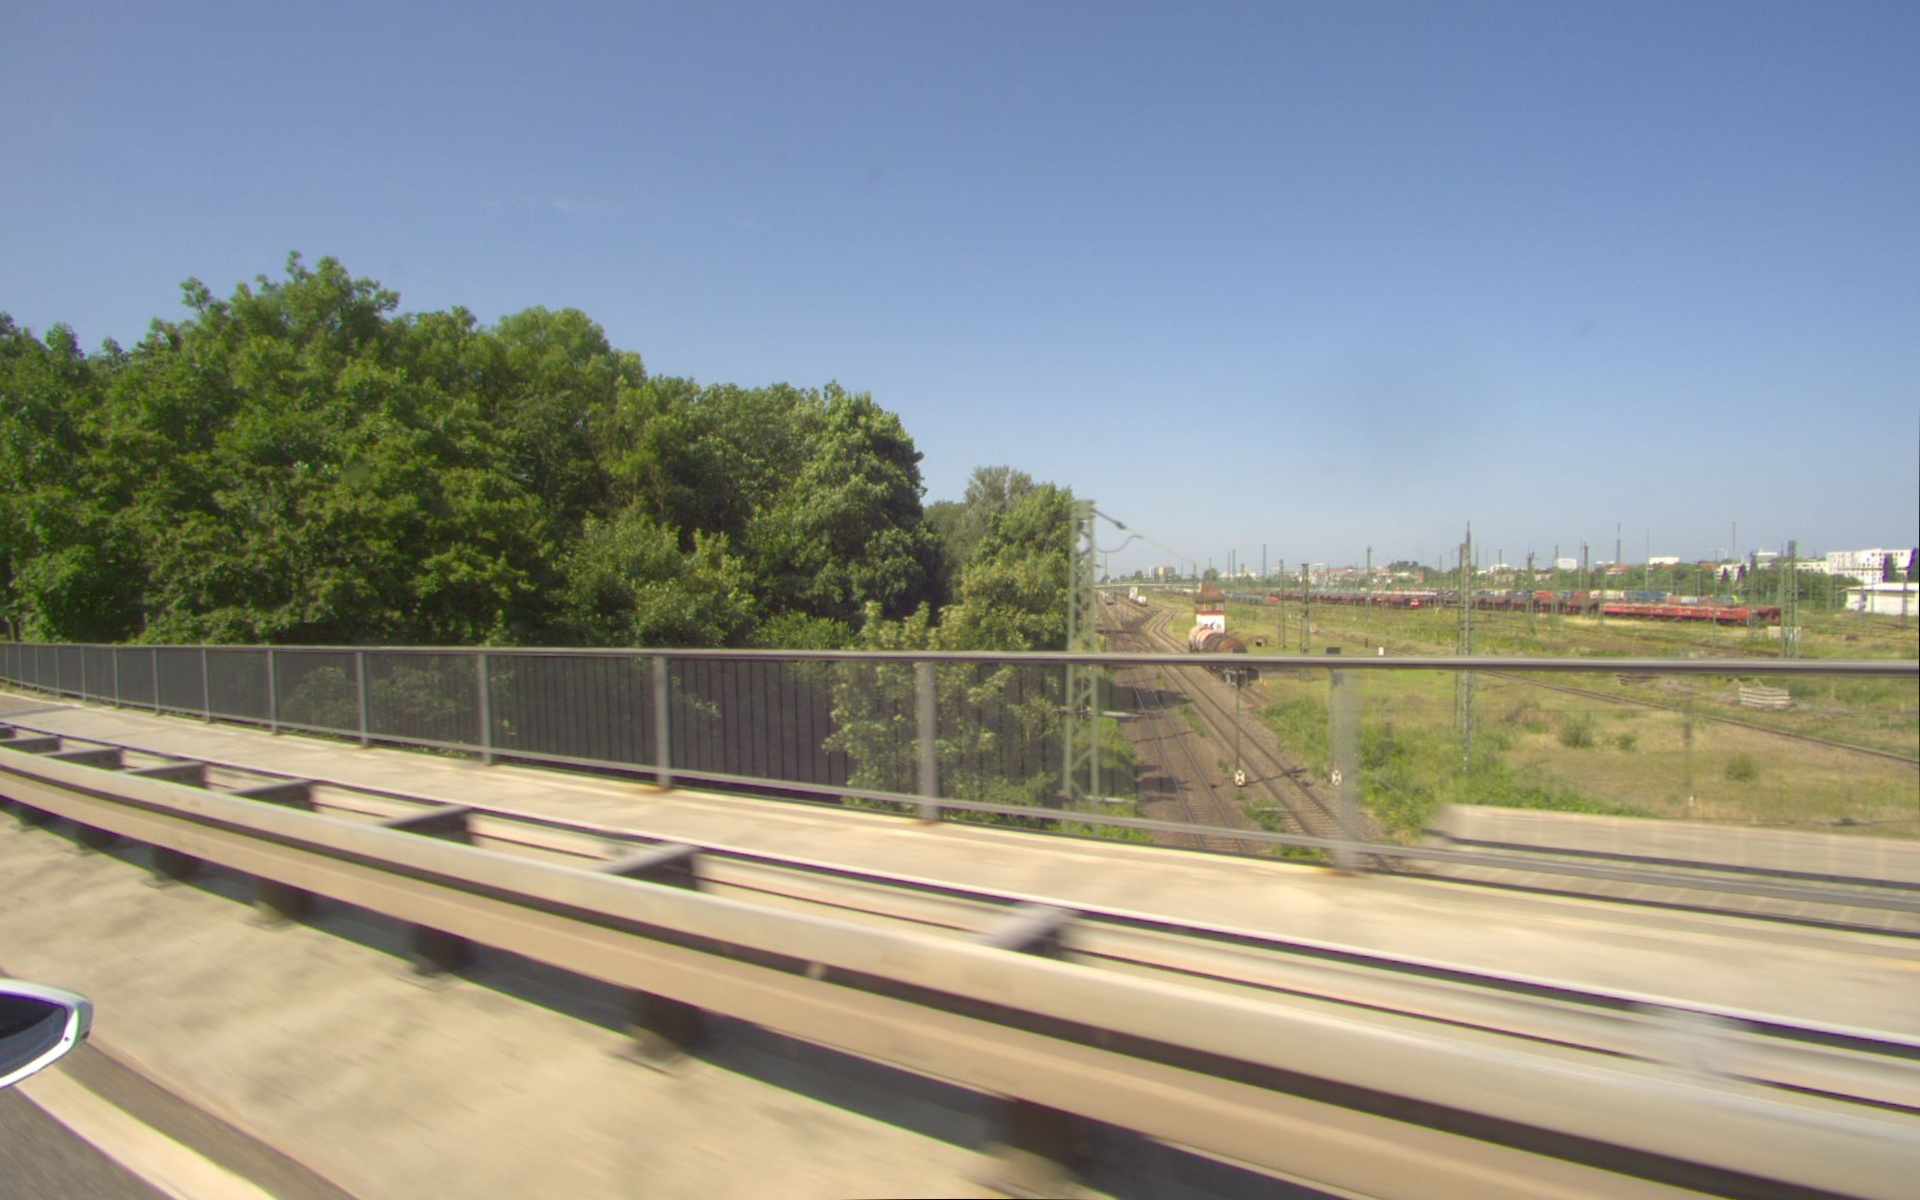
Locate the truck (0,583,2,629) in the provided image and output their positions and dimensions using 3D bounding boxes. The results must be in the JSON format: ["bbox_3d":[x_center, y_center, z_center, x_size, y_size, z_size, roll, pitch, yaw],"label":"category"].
[{"bbox_3d":[-53.614,0.772,52.739,3.231,3.805,8.314,3,-3,-35],"label":"truck"}]
